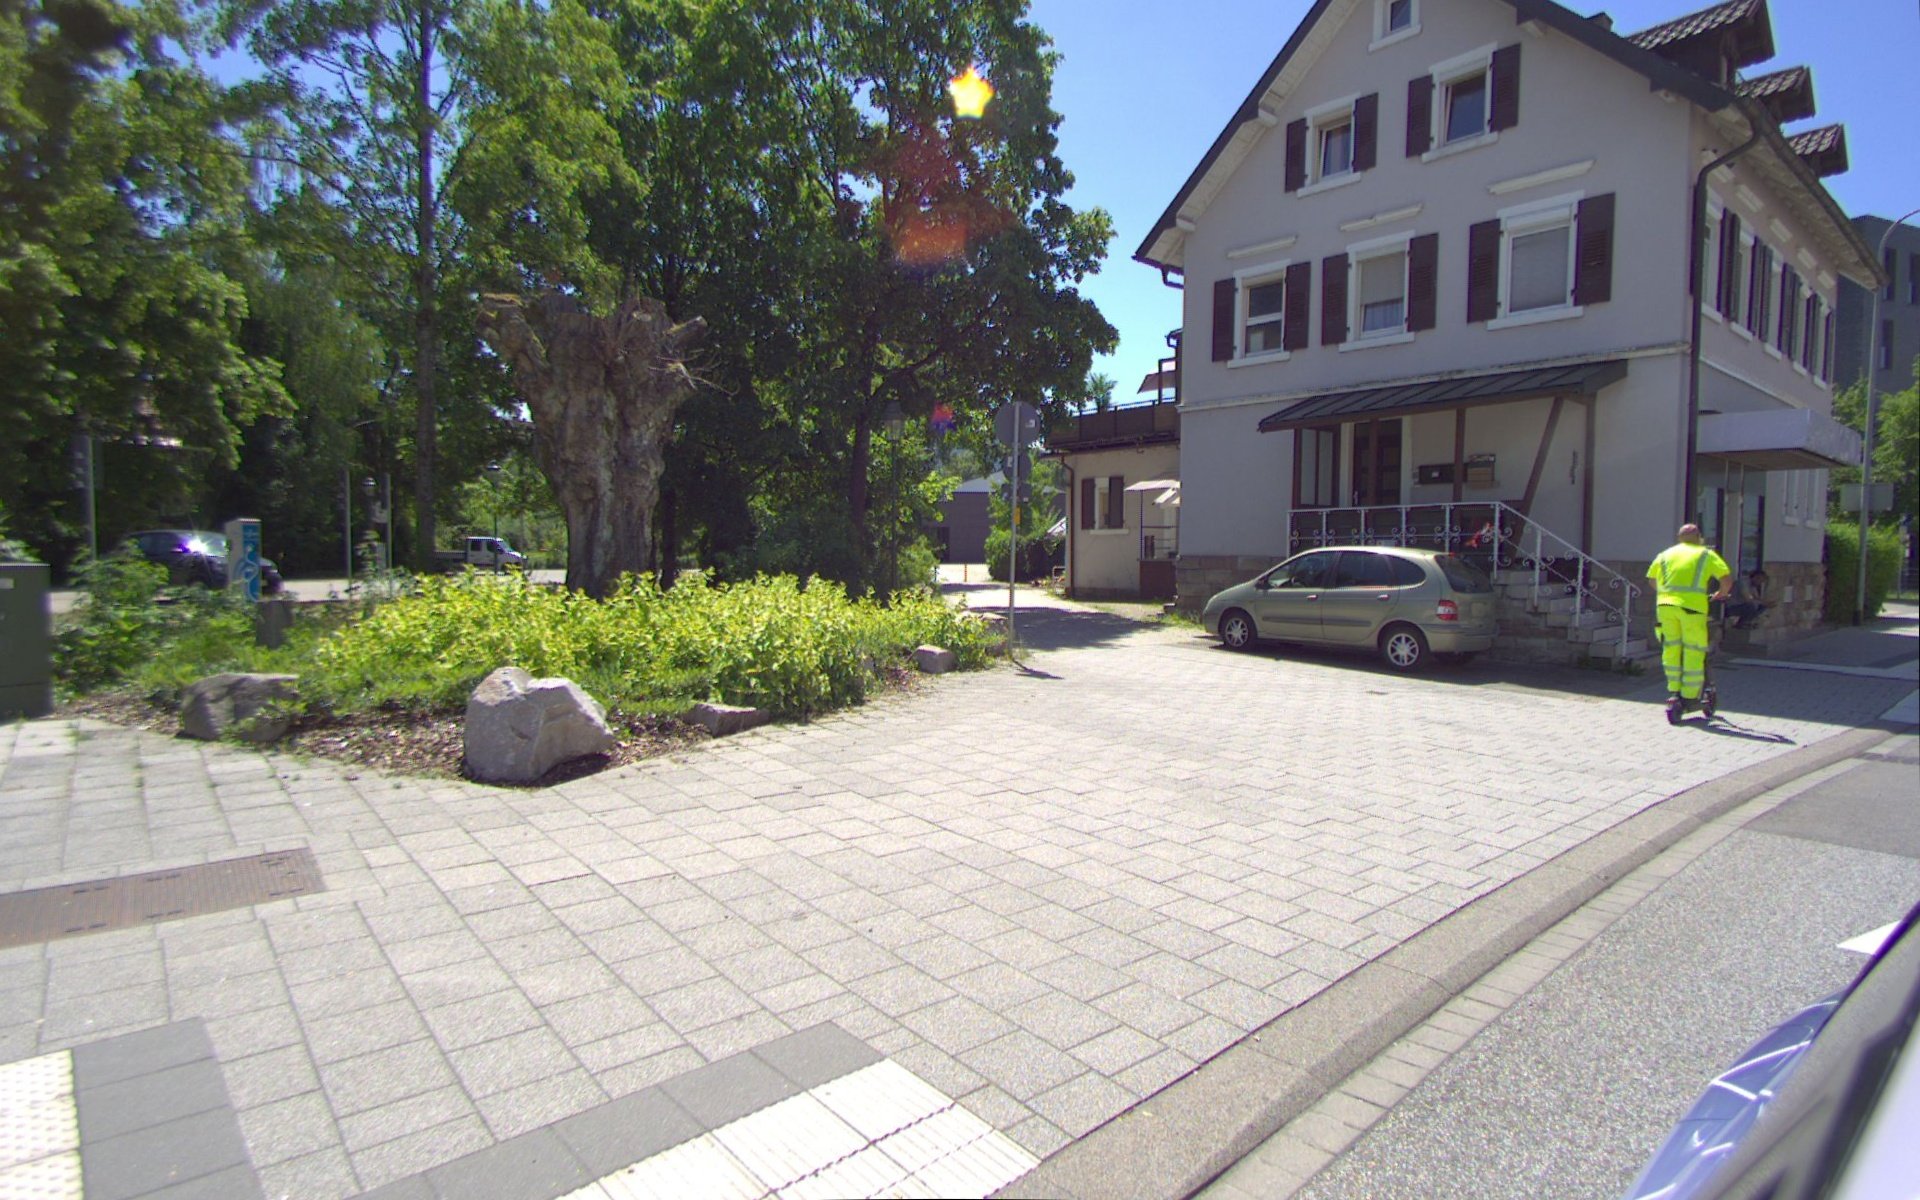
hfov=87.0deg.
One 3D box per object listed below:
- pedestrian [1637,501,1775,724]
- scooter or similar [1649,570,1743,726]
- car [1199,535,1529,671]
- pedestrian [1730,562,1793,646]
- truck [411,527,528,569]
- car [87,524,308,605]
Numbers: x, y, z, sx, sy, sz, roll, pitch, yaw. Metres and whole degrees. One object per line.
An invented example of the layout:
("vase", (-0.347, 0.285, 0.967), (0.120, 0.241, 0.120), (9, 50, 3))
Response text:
("pedestrian", (7.329, 0.082, 9.947), (0.918, 2.054, 0.886), (3, 4, 44))
("scooter or similar", (7.200, 0.418, 9.882), (0.526, 1.389, 1.326), (3, 4, 44))
("car", (5.613, -0.075, 14.479), (1.762, 1.615, 3.998), (0, 4, -39))
("pedestrian", (12.943, 0.042, 16.343), (0.571, 1.301, 0.684), (-2, 4, -44))
("truck", (-29.770, -3.125, 61.627), (6.089, 2.474, 2.269), (0, 0, -11))
("car", (-16.419, -0.800, 21.844), (3.944, 1.621, 1.834), (1, 3, 16))
